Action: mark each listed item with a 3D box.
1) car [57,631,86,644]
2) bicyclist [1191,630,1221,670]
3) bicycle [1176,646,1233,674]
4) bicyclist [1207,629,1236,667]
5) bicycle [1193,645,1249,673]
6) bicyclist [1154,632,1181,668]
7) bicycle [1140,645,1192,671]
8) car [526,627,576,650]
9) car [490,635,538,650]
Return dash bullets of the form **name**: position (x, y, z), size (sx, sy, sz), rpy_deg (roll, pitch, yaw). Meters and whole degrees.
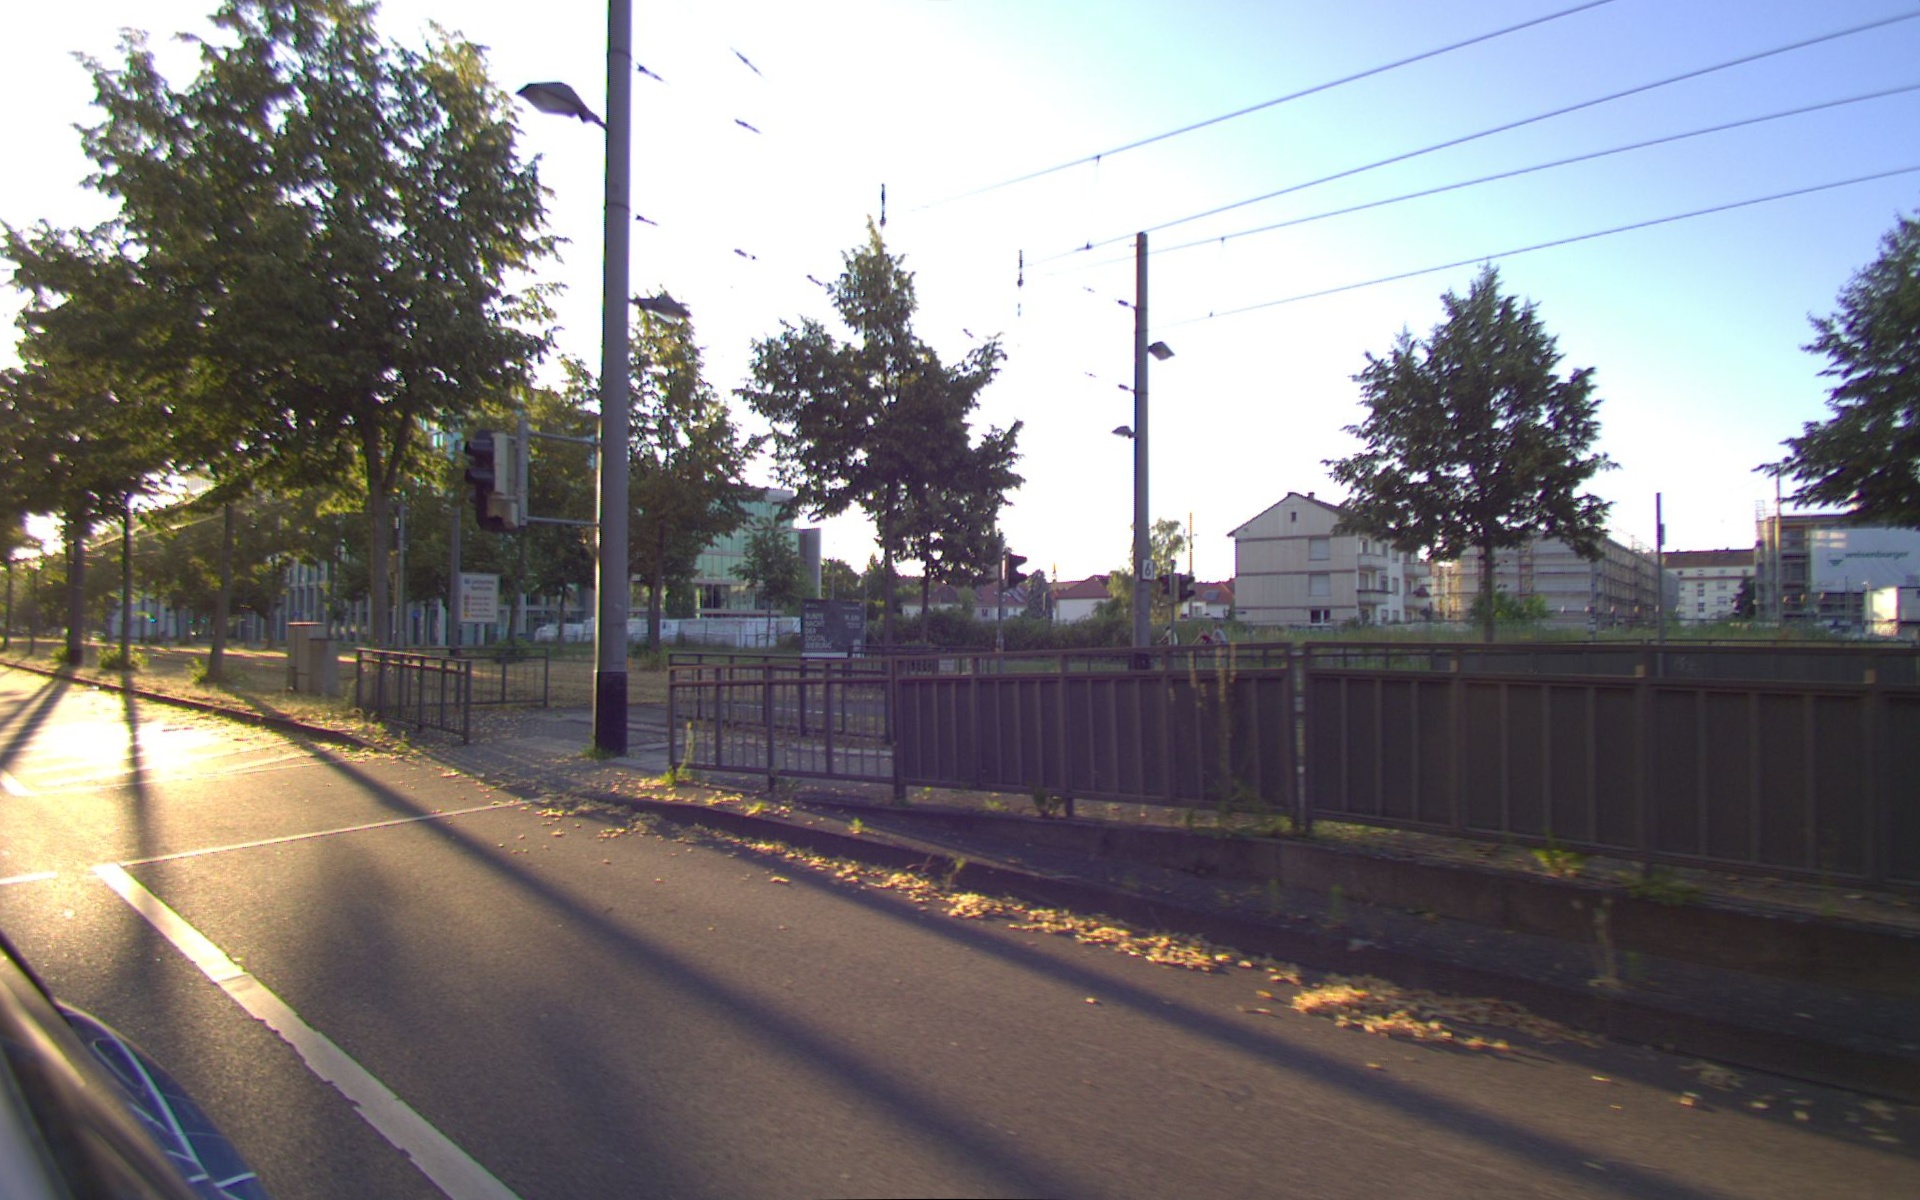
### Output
- **car**: position (-105.943, 4.473, 120.600), size (4.627, 1.497, 1.883), rpy_deg (-2, -3, 40)
- **bicyclist**: position (9.400, 1.903, 38.716), size (0.936, 1.467, 0.613), rpy_deg (-1, -2, 40)
- **bicycle**: position (9.359, 2.271, 38.735), size (2.081, 1.019, 0.613), rpy_deg (-1, -2, 40)
- **bicyclist**: position (10.200, 1.851, 39.506), size (0.936, 1.467, 0.613), rpy_deg (-1, -2, 40)
- **bicycle**: position (10.183, 2.300, 39.507), size (2.081, 1.019, 0.613), rpy_deg (-1, -2, 40)
- **bicyclist**: position (8.497, 2.036, 41.429), size (0.936, 1.432, 0.613), rpy_deg (-1, -2, 40)
- **bicycle**: position (8.436, 2.362, 41.478), size (2.081, 1.019, 0.613), rpy_deg (-1, -2, 40)
- **car**: position (-37.574, 3.531, 92.952), size (5.082, 2.029, 2.183), rpy_deg (-2, -3, 42)
- **car**: position (-43.965, 4.162, 99.844), size (1.895, 1.457, 3.942), rpy_deg (-2, -3, 44)
